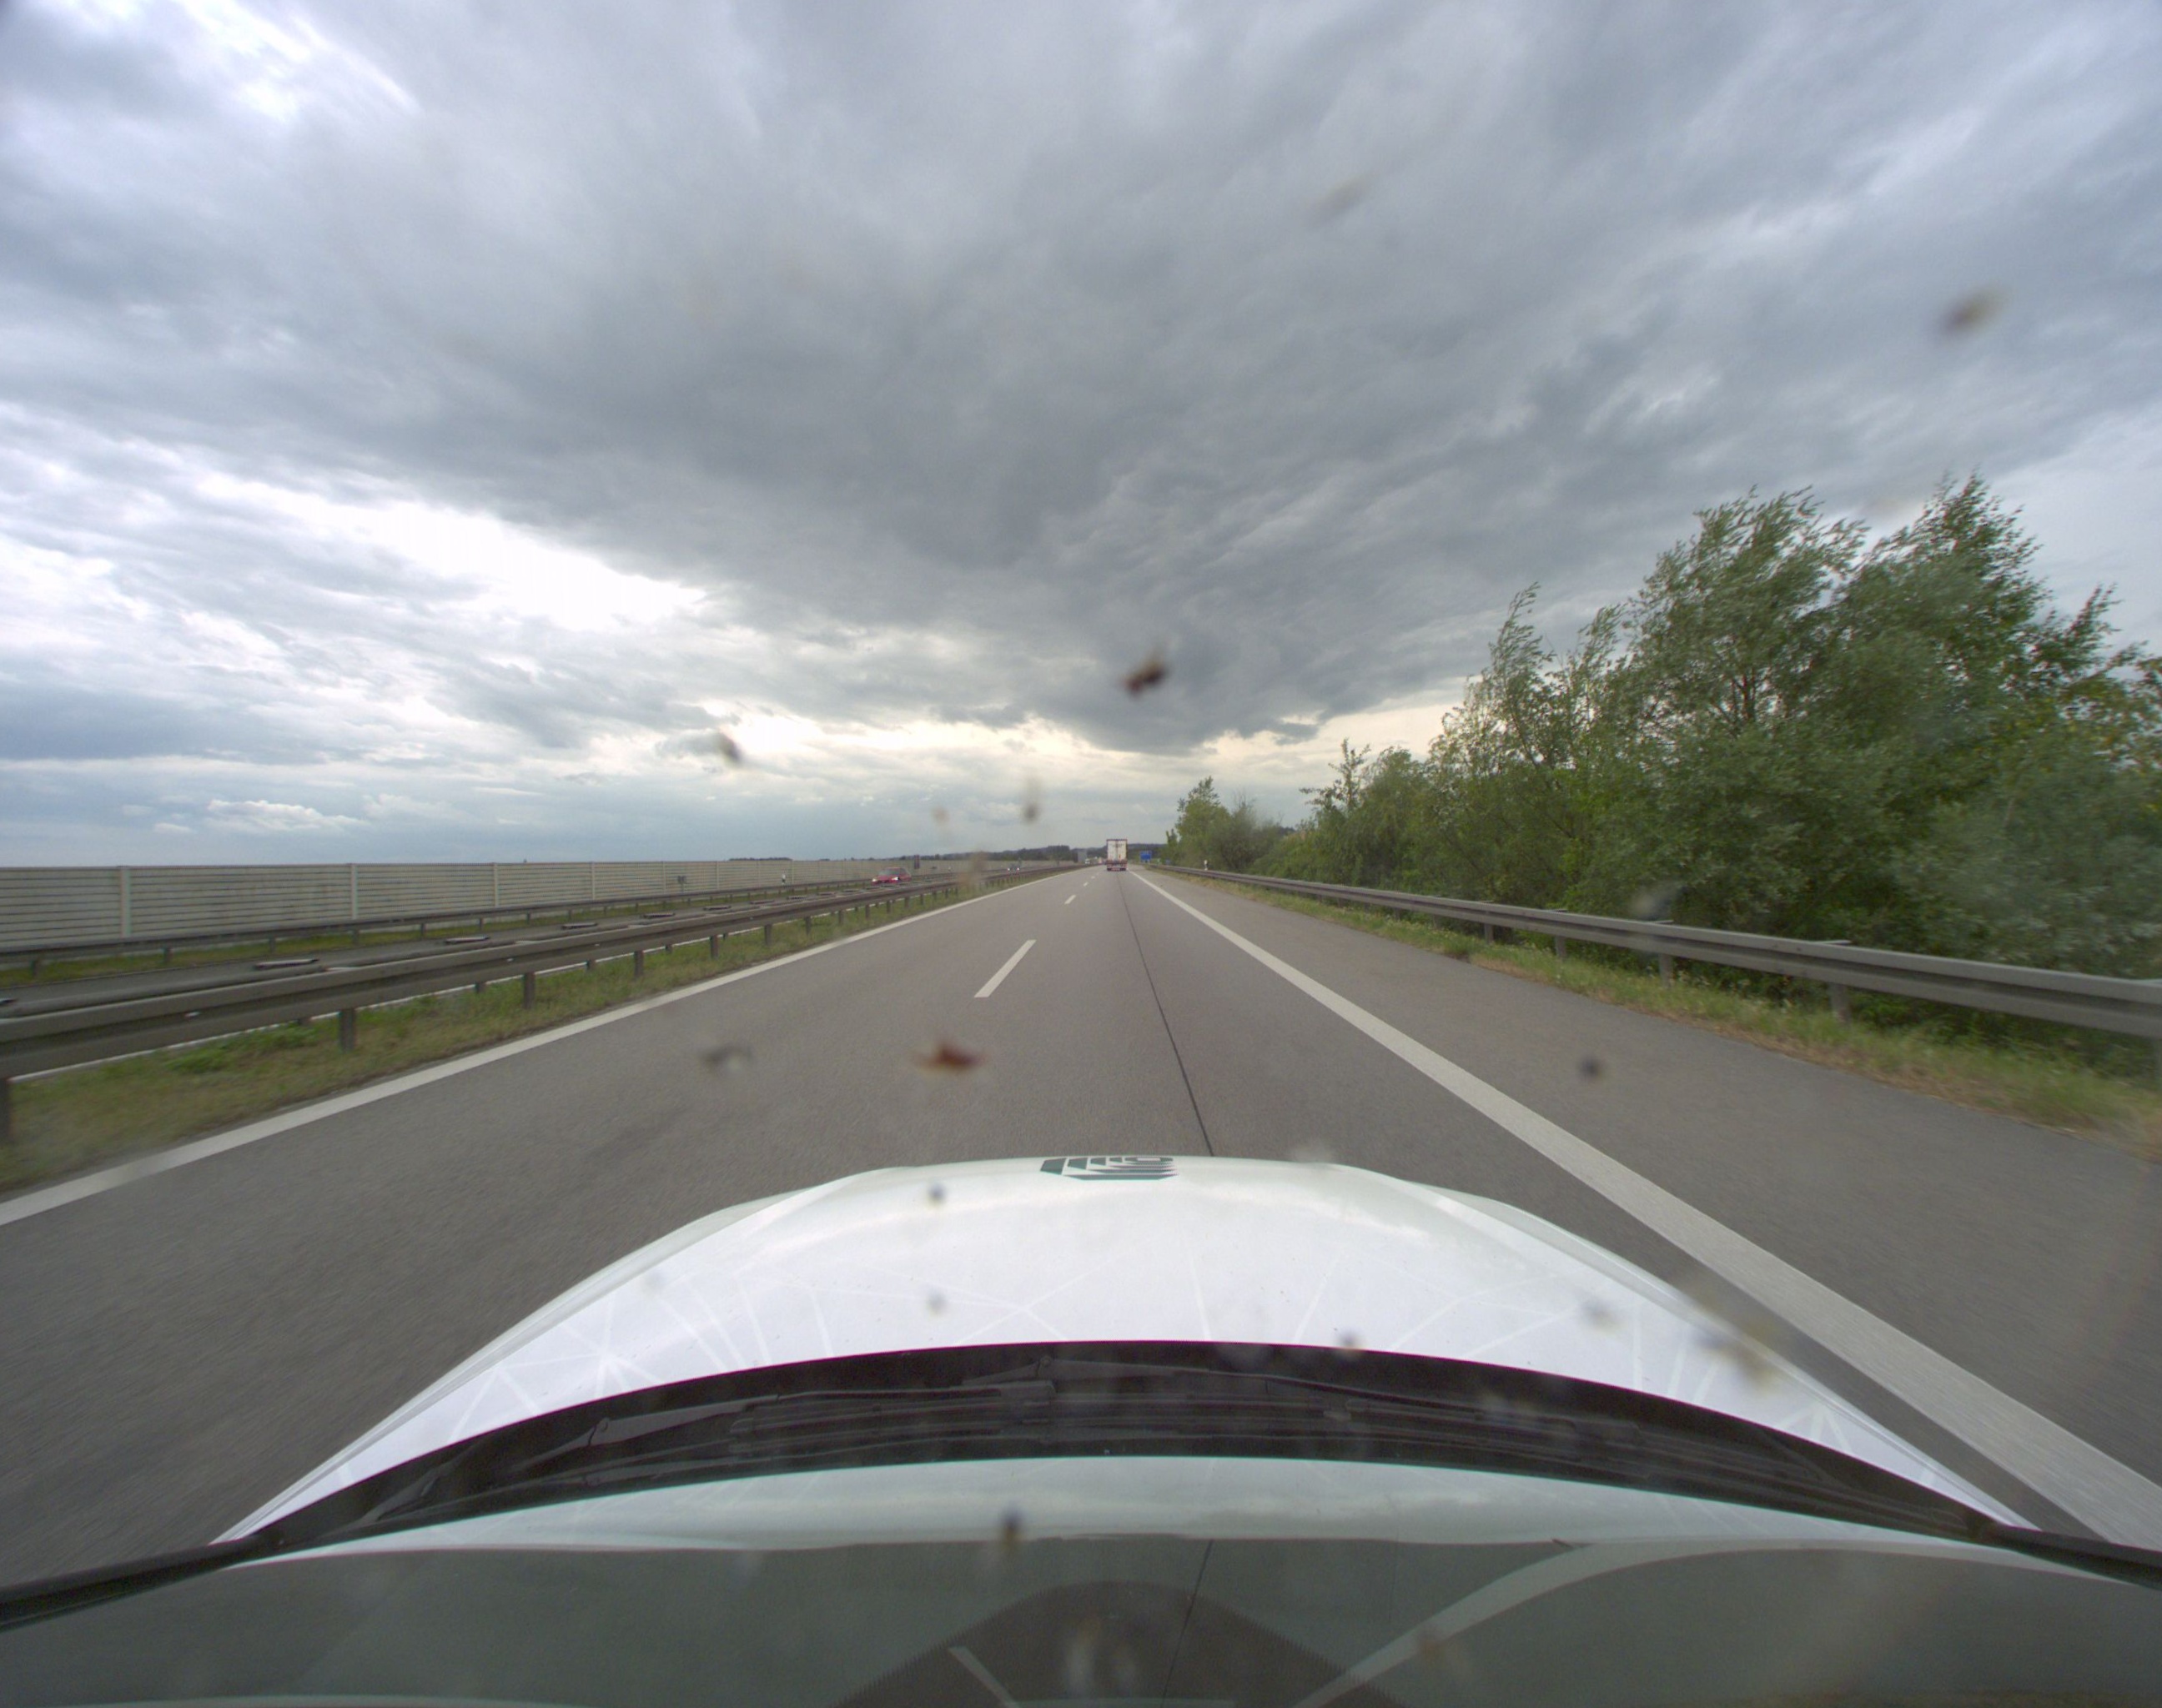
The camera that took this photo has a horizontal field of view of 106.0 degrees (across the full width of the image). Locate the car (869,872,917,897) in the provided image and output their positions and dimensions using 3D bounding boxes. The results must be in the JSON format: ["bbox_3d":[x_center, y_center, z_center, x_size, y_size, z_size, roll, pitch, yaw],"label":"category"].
[{"bbox_3d":[-12.312,1.972,53.583,1.811,1.403,4.879,-3,0,2],"label":"car"}]

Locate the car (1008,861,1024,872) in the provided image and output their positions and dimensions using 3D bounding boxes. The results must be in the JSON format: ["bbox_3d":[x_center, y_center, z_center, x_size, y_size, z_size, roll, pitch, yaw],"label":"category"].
[{"bbox_3d":[-9.221,1.765,115.517,1.652,1.328,4.611,-5,0,2],"label":"car"}]

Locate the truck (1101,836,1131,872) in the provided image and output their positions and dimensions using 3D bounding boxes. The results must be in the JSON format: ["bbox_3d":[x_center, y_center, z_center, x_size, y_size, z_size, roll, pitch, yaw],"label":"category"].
[{"bbox_3d":[4.678,0.032,110.260,3.659,4.412,16.346,-2,0,2],"label":"truck"}]
